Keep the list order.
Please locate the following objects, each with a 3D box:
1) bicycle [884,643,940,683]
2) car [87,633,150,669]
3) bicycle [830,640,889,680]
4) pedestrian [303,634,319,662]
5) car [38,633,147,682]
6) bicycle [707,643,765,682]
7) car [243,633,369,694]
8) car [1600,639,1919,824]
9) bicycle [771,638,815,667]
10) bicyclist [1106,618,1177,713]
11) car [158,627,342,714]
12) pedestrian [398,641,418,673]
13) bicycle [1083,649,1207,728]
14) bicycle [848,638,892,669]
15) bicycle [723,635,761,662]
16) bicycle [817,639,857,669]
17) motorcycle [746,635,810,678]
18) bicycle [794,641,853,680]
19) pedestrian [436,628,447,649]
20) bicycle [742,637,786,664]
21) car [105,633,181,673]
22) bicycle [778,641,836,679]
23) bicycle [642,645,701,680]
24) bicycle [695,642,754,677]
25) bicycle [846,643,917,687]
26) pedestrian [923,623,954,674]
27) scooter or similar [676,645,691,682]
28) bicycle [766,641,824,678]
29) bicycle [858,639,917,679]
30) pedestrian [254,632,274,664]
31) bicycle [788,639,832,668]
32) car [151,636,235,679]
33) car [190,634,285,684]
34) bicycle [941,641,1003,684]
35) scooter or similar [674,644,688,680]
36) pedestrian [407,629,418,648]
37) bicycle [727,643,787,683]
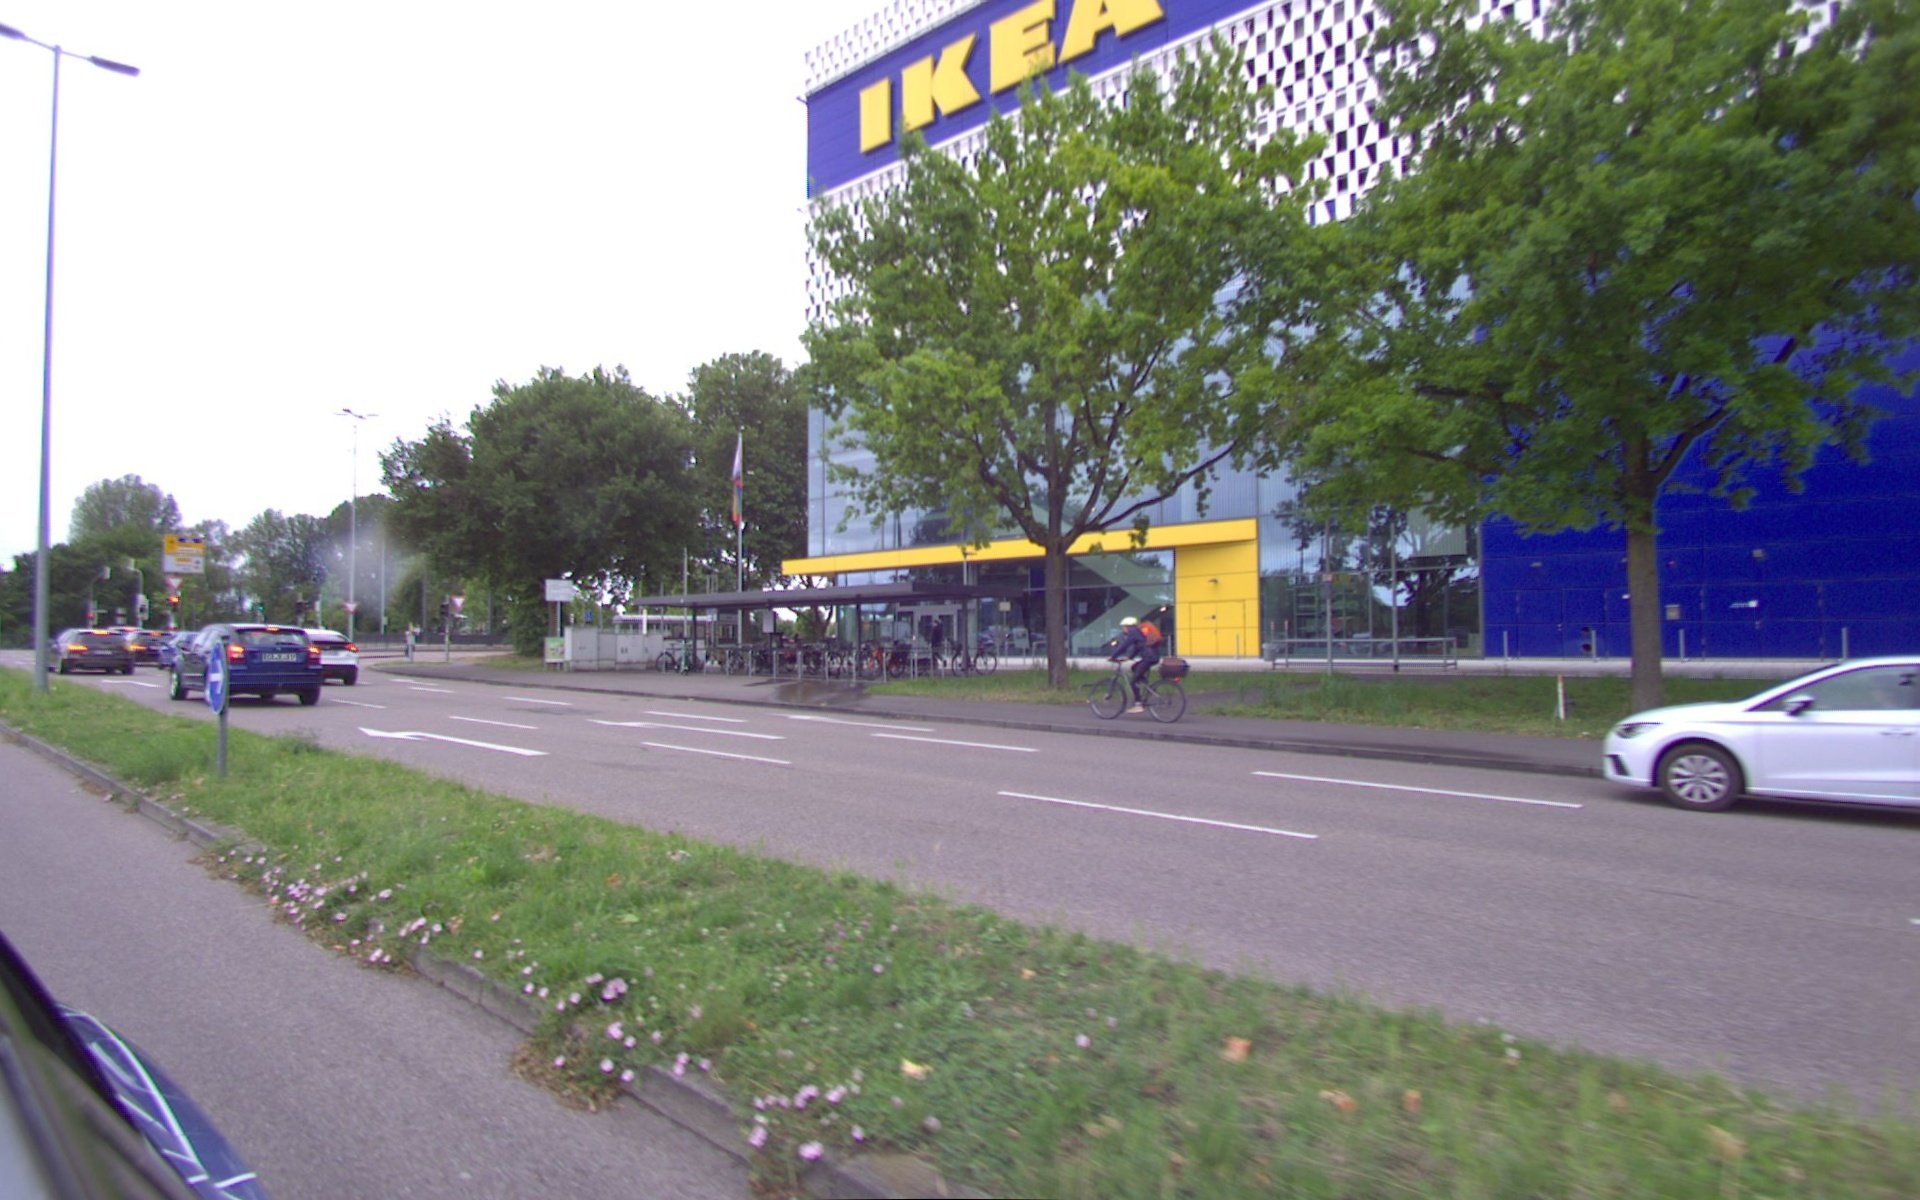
[{"bbox_3d":[-1.445,1.890,30.679,0.593,1.090,1.790,-2,-1,41],"label":"bicycle"},{"bbox_3d":[-37.160,2.238,44.685,3.207,1.514,1.586,-2,-4,40],"label":"car"},{"bbox_3d":[-3.231,1.923,32.649,0.593,1.165,1.994,-2,-1,41],"label":"bicycle"},{"bbox_3d":[-40.420,2.977,63.072,0.666,1.725,0.766,2,-3,-45],"label":"pedestrian"},{"bbox_3d":[-27.510,1.799,32.044,4.428,1.448,1.864,-1,-4,40],"label":"car"},{"bbox_3d":[-7.347,2.036,33.282,0.593,1.165,1.874,-2,-1,41],"label":"bicycle"},{"bbox_3d":[-18.458,1.751,28.509,4.181,1.530,1.910,-1,-3,42],"label":"car"},{"bbox_3d":[8.182,1.097,8.810,4.167,1.465,1.846,-2,-4,42],"label":"car"},{"bbox_3d":[-7.257,2.271,44.086,0.593,1.165,1.995,-2,-1,40],"label":"bicycle"},{"bbox_3d":[3.137,1.115,17.505,1.000,1.589,0.633,-3,-2,41],"label":"bicyclist"},{"bbox_3d":[-13.990,1.317,19.838,4.437,1.497,1.910,-1,-4,41],"label":"car"},{"bbox_3d":[-29.095,2.997,53.351,0.808,1.655,0.627,0,-2,39],"label":"pedestrian"},{"bbox_3d":[3.172,1.498,17.497,2.055,1.260,0.636,-3,-2,42],"label":"bicycle"},{"bbox_3d":[-3.624,2.157,40.906,0.592,1.165,1.998,-2,-1,35],"label":"bicycle"},{"bbox_3d":[-9.990,2.226,46.436,0.590,1.165,2.005,-2,-1,25],"label":"bicycle"},{"bbox_3d":[-5.121,2.235,42.144,0.591,1.165,2.003,-2,-1,28],"label":"bicycle"},{"bbox_3d":[-6.351,1.960,35.415,0.797,1.366,2.475,-2,-1,29],"label":"motorcycle"},{"bbox_3d":[-4.424,1.947,32.965,0.593,1.165,1.994,-2,-1,41],"label":"bicycle"},{"bbox_3d":[-44.088,3.257,86.001,0.788,1.755,0.578,-5,-5,44],"label":"pedestrian"},{"bbox_3d":[-8.828,2.271,45.648,0.593,1.165,1.995,-2,-1,40],"label":"bicycle"},{"bbox_3d":[-33.004,2.112,40.840,4.063,1.514,1.644,-1,-5,41],"label":"car"},{"bbox_3d":[-5.136,2.009,34.006,0.593,1.165,1.994,-2,-1,41],"label":"bicycle"},{"bbox_3d":[-10.104,2.165,35.463,0.593,1.166,1.994,-2,-3,41],"label":"bicycle"},{"bbox_3d":[-8.580,2.164,36.884,1.988,1.165,0.595,-1,-1,-32],"label":"bicycle"},{"bbox_3d":[-2.270,1.874,29.376,1.988,1.165,0.595,-1,-1,-34],"label":"bicycle"},{"bbox_3d":[-0.750,1.702,35.539,0.808,1.759,0.670,-3,-3,41],"label":"pedestrian"},{"bbox_3d":[-9.143,2.088,33.450,0.417,1.157,1.353,-1,-1,-17],"label":"scooter or similar"},{"bbox_3d":[-5.618,2.015,34.531,0.593,1.165,1.994,-2,-1,41],"label":"bicycle"},{"bbox_3d":[-2.254,1.838,31.793,0.593,1.165,1.994,-2,-1,41],"label":"bicycle"},{"bbox_3d":[-40.335,2.759,58.637,0.686,1.778,0.656,2,-3,39],"label":"pedestrian"},{"bbox_3d":[-6.407,2.279,43.304,0.593,1.165,1.995,-2,-1,40],"label":"bicycle"},{"bbox_3d":[-28.005,2.077,36.905,4.141,1.455,1.585,-1,-4,41],"label":"car"},{"bbox_3d":[-23.664,1.901,33.093,4.035,1.509,1.585,-1,-4,41],"label":"car"},{"bbox_3d":[0.363,1.786,29.430,0.594,1.131,1.993,-2,-1,44],"label":"bicycle"},{"bbox_3d":[-9.596,2.123,34.833,0.353,1.194,1.296,-1,-1,-11],"label":"scooter or similar"},{"bbox_3d":[-45.528,3.207,84.148,0.711,1.572,0.623,-5,-5,43],"label":"pedestrian"},{"bbox_3d":[-6.523,2.008,32.585,0.593,1.165,1.874,-2,-1,41],"label":"bicycle"}]
